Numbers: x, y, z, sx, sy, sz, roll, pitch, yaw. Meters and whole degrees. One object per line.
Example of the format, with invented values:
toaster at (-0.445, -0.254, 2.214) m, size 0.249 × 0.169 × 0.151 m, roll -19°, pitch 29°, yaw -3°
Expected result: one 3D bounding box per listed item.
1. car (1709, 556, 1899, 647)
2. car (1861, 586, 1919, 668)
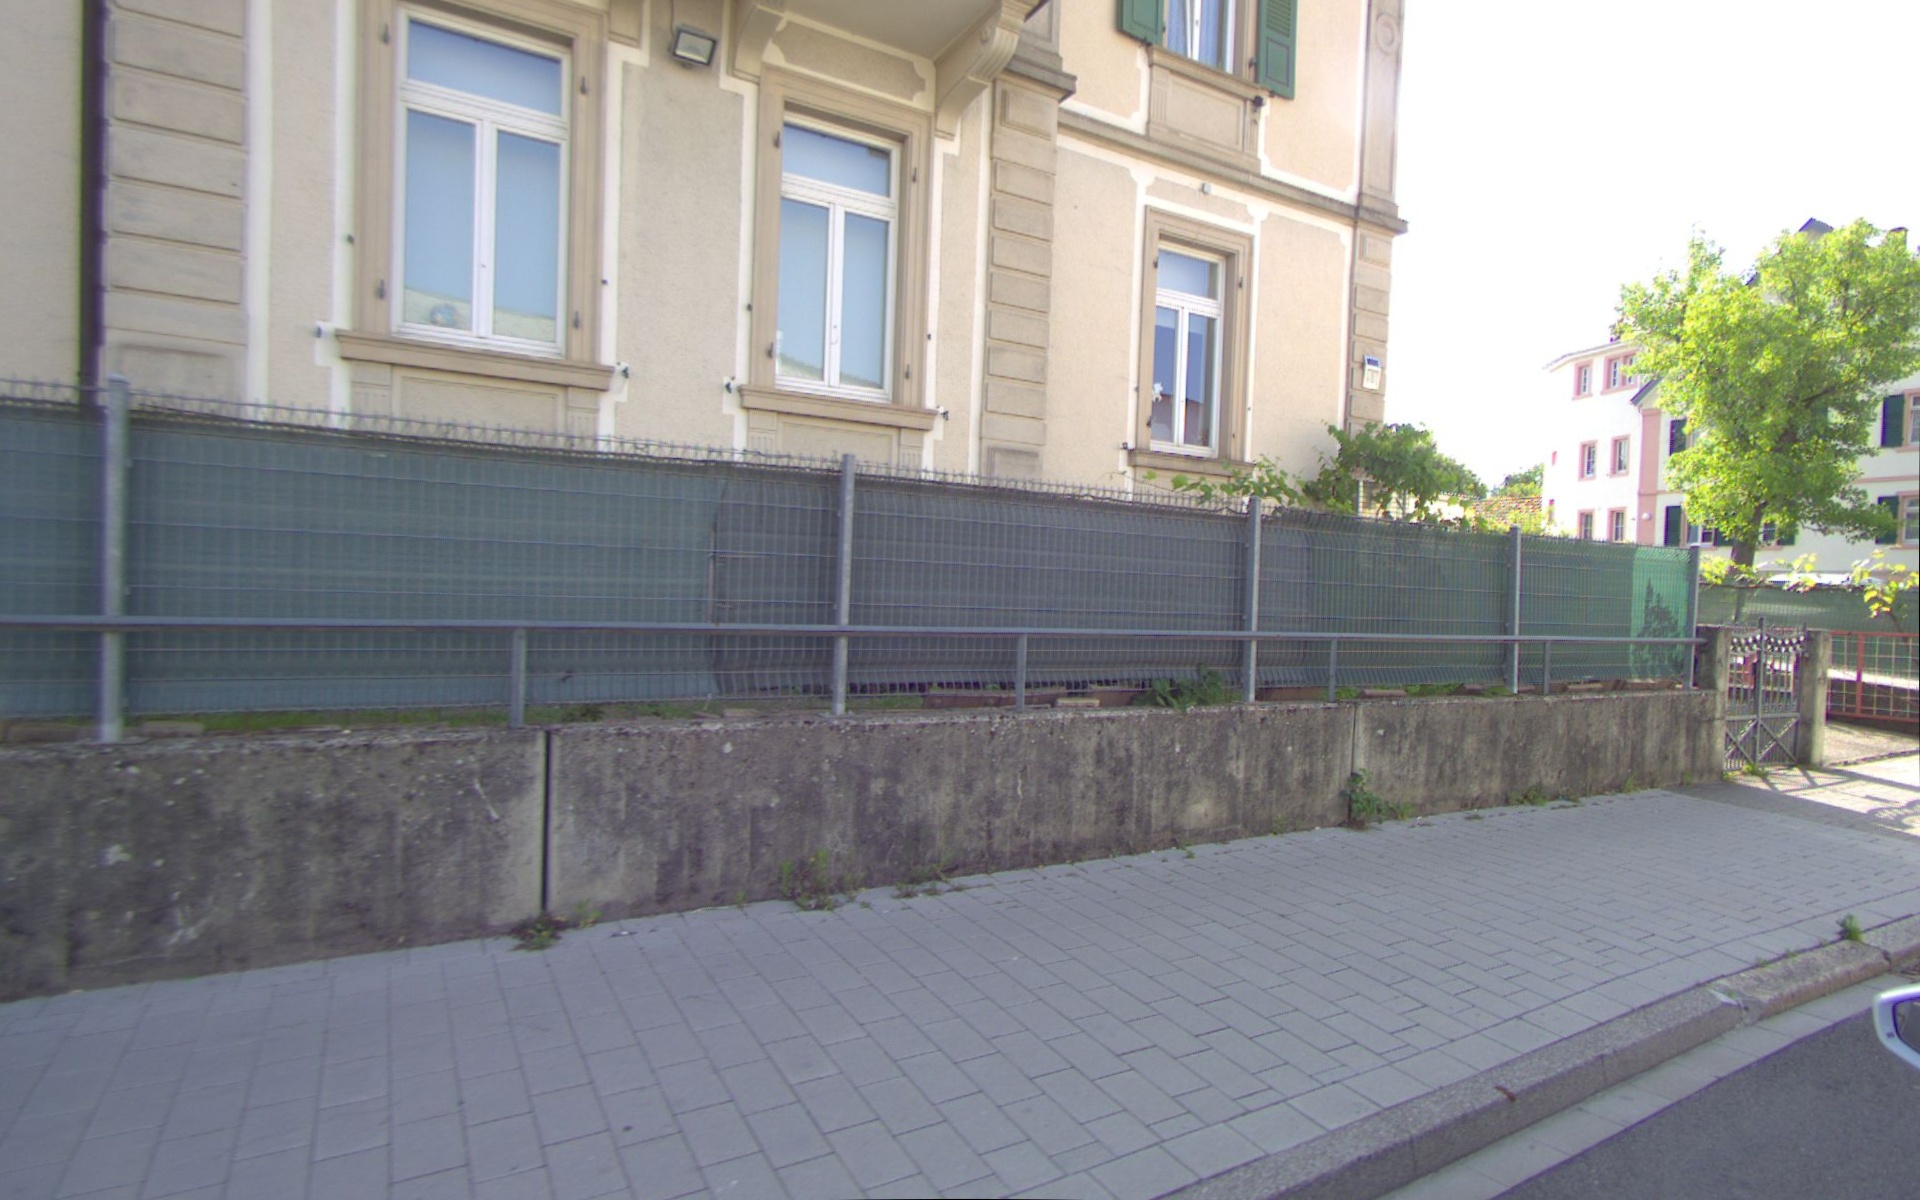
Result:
car at (19.263, 0.023, 22.888) m, size 4.629 × 1.796 × 1.813 m, roll 1°, pitch 5°, yaw -32°
car at (19.819, 0.545, 19.881) m, size 4.342 × 1.482 × 1.607 m, roll 0°, pitch 4°, yaw -30°
